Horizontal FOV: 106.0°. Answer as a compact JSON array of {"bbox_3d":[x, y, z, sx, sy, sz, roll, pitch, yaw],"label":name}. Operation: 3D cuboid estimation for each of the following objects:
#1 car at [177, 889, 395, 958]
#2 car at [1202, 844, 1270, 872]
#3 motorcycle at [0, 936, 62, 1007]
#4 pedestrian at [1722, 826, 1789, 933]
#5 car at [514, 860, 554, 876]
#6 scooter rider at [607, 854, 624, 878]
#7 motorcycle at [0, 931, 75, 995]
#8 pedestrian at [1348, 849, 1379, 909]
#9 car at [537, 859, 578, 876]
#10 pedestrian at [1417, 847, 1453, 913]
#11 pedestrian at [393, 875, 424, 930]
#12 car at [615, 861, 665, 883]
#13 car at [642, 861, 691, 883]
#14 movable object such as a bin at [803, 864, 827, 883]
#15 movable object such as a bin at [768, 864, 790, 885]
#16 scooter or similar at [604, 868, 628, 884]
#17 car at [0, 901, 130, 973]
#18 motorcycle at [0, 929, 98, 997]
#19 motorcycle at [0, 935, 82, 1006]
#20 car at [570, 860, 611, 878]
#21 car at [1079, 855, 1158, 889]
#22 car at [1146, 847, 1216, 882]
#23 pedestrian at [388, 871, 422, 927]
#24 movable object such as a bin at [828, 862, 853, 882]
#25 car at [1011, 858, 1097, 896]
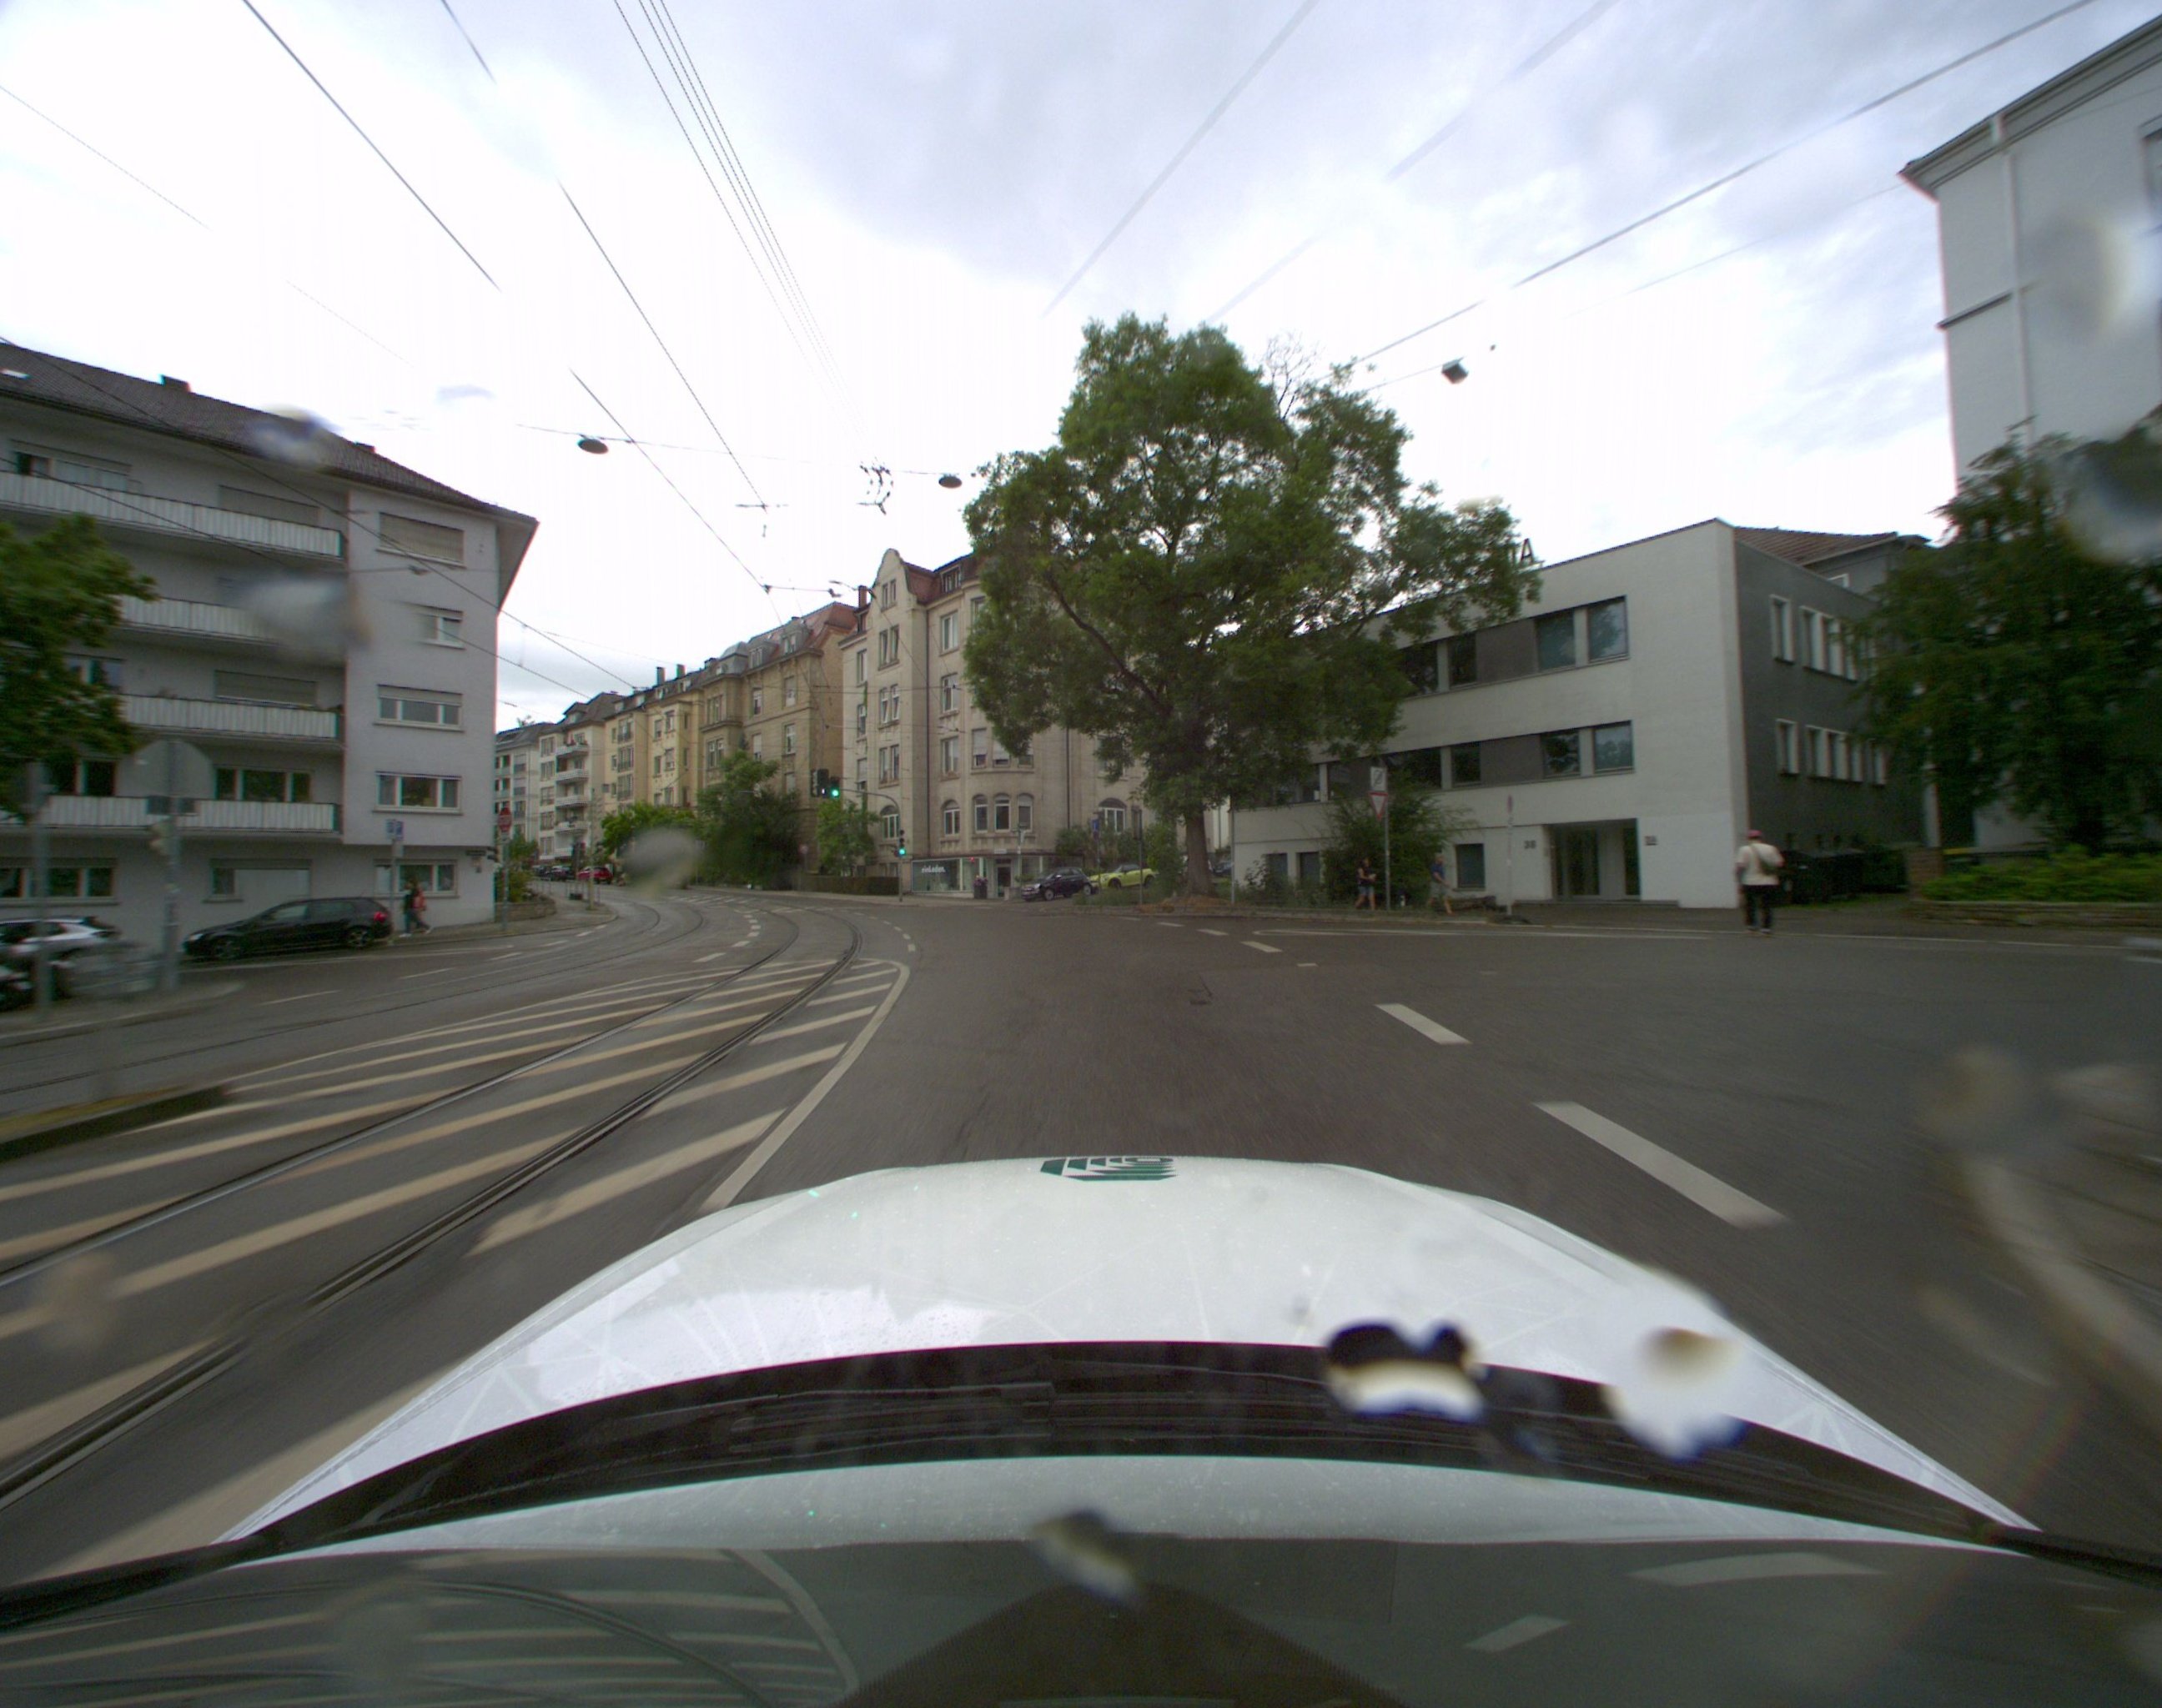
[{"bbox_3d":[-22.315,1.892,23.124,4.276,1.454,1.834,-2,3,-42],"label":"car"},{"bbox_3d":[9.053,0.224,47.458,3.915,1.508,1.605,0,-3,-37],"label":"car"},{"bbox_3d":[-17.633,1.910,12.712,0.479,1.048,2.137,0,1,41],"label":"motorcycle"},{"bbox_3d":[11.069,0.404,13.368,0.748,1.700,0.666,0,-1,-35],"label":"pedestrian"},{"bbox_3d":[-51.584,1.307,76.772,4.248,1.437,1.571,1,-2,35],"label":"car"},{"bbox_3d":[-34.409,0.890,60.205,0.833,1.706,0.628,1,-4,30],"label":"scooter rider"},{"bbox_3d":[-19.947,2.028,14.752,0.479,1.048,2.137,2,2,41],"label":"motorcycle"},{"bbox_3d":[7.573,0.664,21.848,0.599,1.565,0.544,0,1,-7],"label":"pedestrian"},{"bbox_3d":[-47.107,1.228,73.245,4.012,1.437,1.699,0,-2,37],"label":"car"},{"bbox_3d":[8.939,0.640,20.554,0.547,1.629,0.596,0,2,-30],"label":"pedestrian"},{"bbox_3d":[-21.994,1.564,26.649,0.749,1.699,0.665,-1,2,-42],"label":"pedestrian"},{"bbox_3d":[-34.109,1.384,62.927,4.233,1.603,1.783,0,0,37],"label":"car"},{"bbox_3d":[-30.463,1.315,59.780,3.950,1.391,1.782,2,-1,41],"label":"car"},{"bbox_3d":[-19.366,1.403,59.264,1.153,1.308,1.229,-1,0,42],"label":"movable object such as a bin"},{"bbox_3d":[-21.125,1.450,57.000,0.812,1.403,1.237,2,2,35],"label":"movable object such as a bin"},{"bbox_3d":[-34.419,1.629,60.233,1.983,1.050,0.518,1,-3,30],"label":"scooter or similar"},{"bbox_3d":[-26.011,2.044,19.590,3.914,1.454,1.634,-2,3,-44],"label":"car"},{"bbox_3d":[-19.054,1.962,14.387,0.479,1.048,2.137,2,2,41],"label":"motorcycle"},{"bbox_3d":[-18.039,1.961,13.316,0.479,1.048,2.137,2,2,41],"label":"motorcycle"},{"bbox_3d":[-41.196,1.266,68.413,3.792,1.437,1.738,0,-2,40],"label":"car"},{"bbox_3d":[1.914,0.876,40.952,3.689,1.508,1.717,-3,1,-39],"label":"car"},{"bbox_3d":[5.424,0.545,44.049,3.795,1.507,1.604,-5,-1,-43],"label":"car"},{"bbox_3d":[-21.499,1.412,25.898,0.748,1.699,0.666,0,2,-34],"label":"pedestrian"},{"bbox_3d":[-17.973,1.317,60.814,1.291,1.425,1.242,-1,0,42],"label":"movable object such as a bin"},{"bbox_3d":[-1.245,1.042,38.152,3.689,1.508,1.717,-3,1,-39],"label":"car"}]
